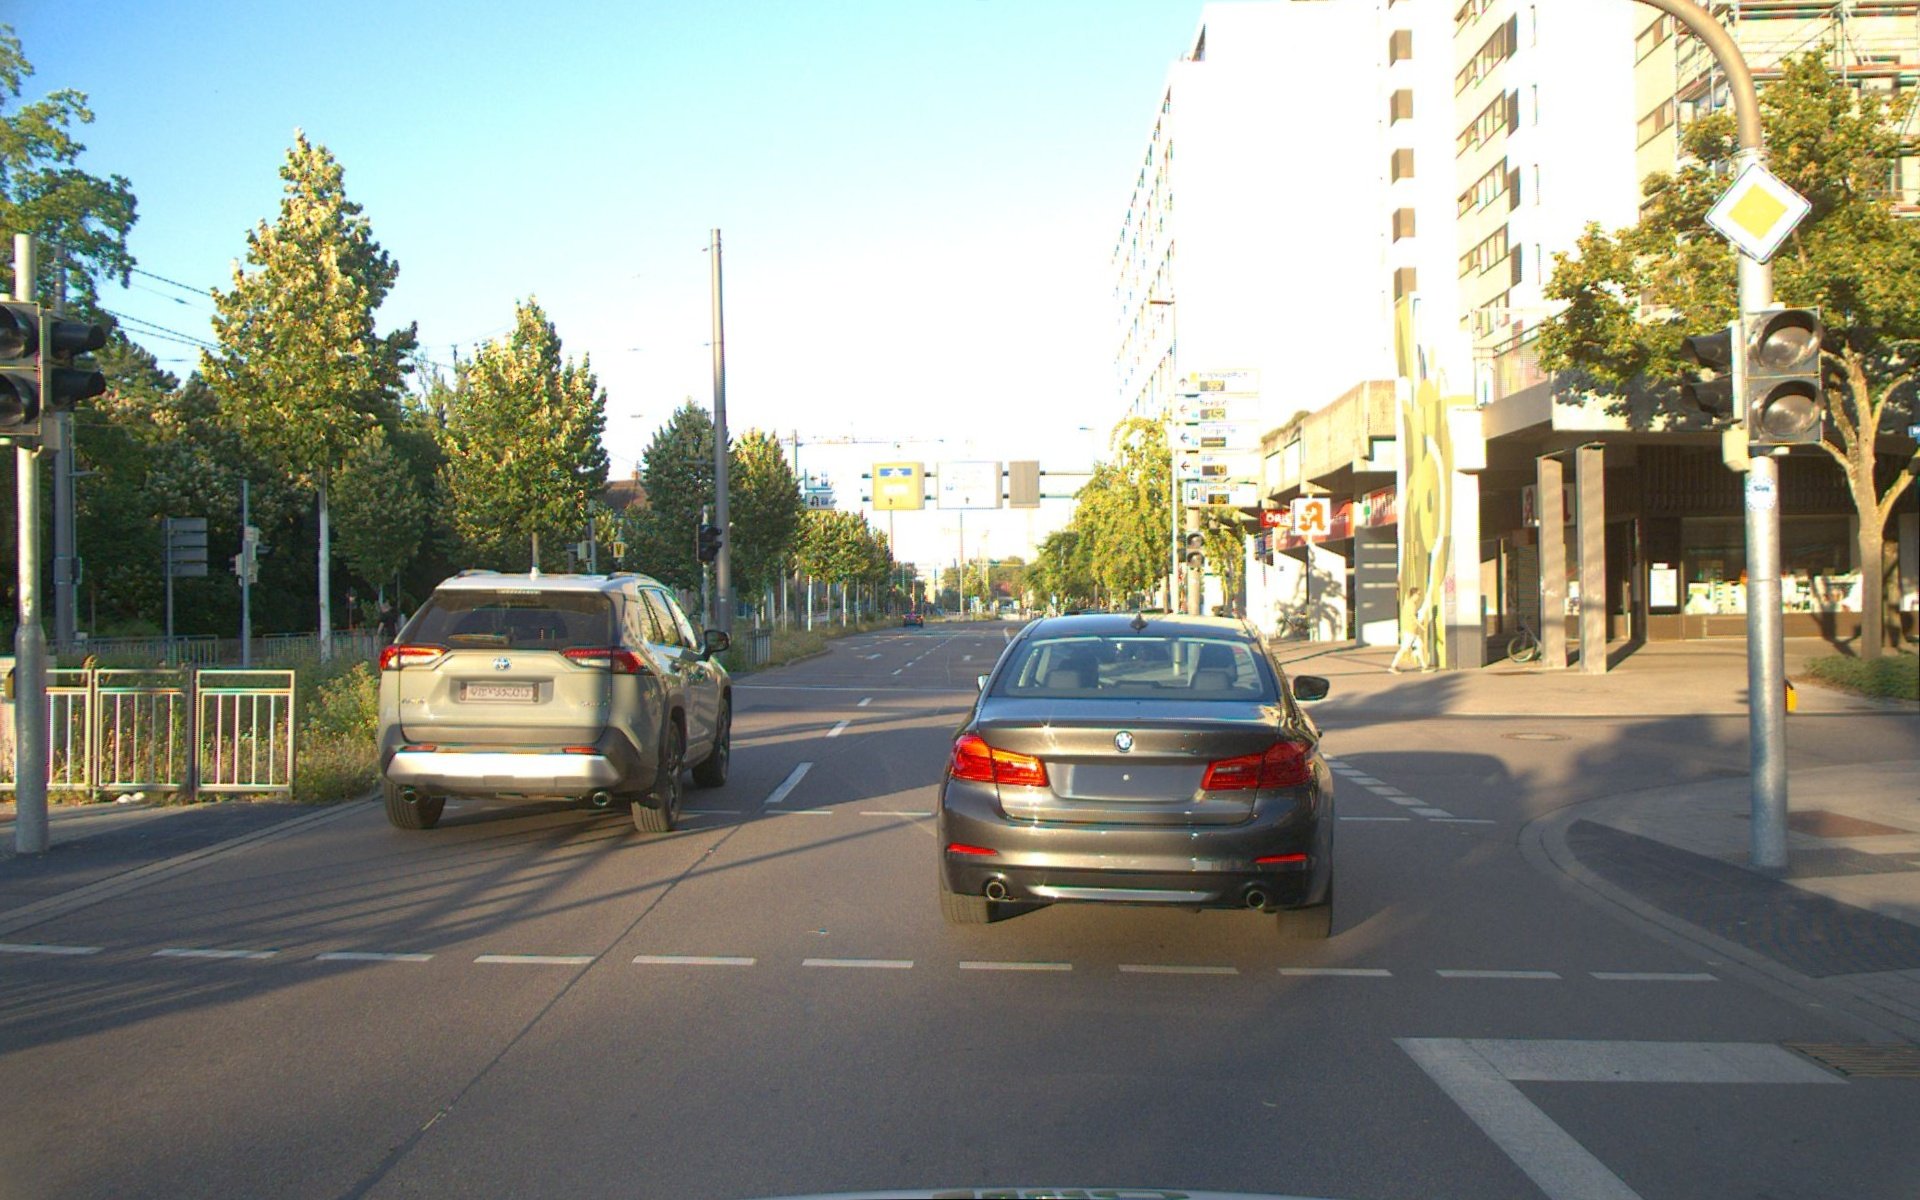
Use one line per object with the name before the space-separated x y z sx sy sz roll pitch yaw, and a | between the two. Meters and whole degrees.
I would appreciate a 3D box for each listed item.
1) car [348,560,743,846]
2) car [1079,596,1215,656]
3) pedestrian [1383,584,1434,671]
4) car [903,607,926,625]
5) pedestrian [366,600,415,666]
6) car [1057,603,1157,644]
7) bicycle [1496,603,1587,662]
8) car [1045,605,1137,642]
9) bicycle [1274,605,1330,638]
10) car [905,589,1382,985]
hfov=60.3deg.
car | -2.738 0.578 11.937 1.817 1.687 4.268 0 1 -1
car | 5.667 0.731 49.831 4.235 1.687 1.831 0 1 -44
pedestrian | 9.174 0.553 33.872 0.818 1.742 0.647 -1 -1 -2
car | -3.829 1.346 139.997 1.938 1.458 4.842 0 1 -1
pedestrian | -14.105 0.806 40.951 0.817 1.614 0.812 -1 -1 13
car | 6.445 0.994 72.168 4.222 1.687 1.837 0 1 -37
bicycle | 12.205 0.672 34.783 0.678 1.169 2.011 2 -1 -19
car | 6.225 1.093 78.495 4.220 1.687 1.837 0 1 -36
bicycle | 12.919 0.800 62.429 1.974 1.169 0.691 2 -1 5
car | 1.017 0.723 8.883 1.891 1.507 4.526 1 1 8
